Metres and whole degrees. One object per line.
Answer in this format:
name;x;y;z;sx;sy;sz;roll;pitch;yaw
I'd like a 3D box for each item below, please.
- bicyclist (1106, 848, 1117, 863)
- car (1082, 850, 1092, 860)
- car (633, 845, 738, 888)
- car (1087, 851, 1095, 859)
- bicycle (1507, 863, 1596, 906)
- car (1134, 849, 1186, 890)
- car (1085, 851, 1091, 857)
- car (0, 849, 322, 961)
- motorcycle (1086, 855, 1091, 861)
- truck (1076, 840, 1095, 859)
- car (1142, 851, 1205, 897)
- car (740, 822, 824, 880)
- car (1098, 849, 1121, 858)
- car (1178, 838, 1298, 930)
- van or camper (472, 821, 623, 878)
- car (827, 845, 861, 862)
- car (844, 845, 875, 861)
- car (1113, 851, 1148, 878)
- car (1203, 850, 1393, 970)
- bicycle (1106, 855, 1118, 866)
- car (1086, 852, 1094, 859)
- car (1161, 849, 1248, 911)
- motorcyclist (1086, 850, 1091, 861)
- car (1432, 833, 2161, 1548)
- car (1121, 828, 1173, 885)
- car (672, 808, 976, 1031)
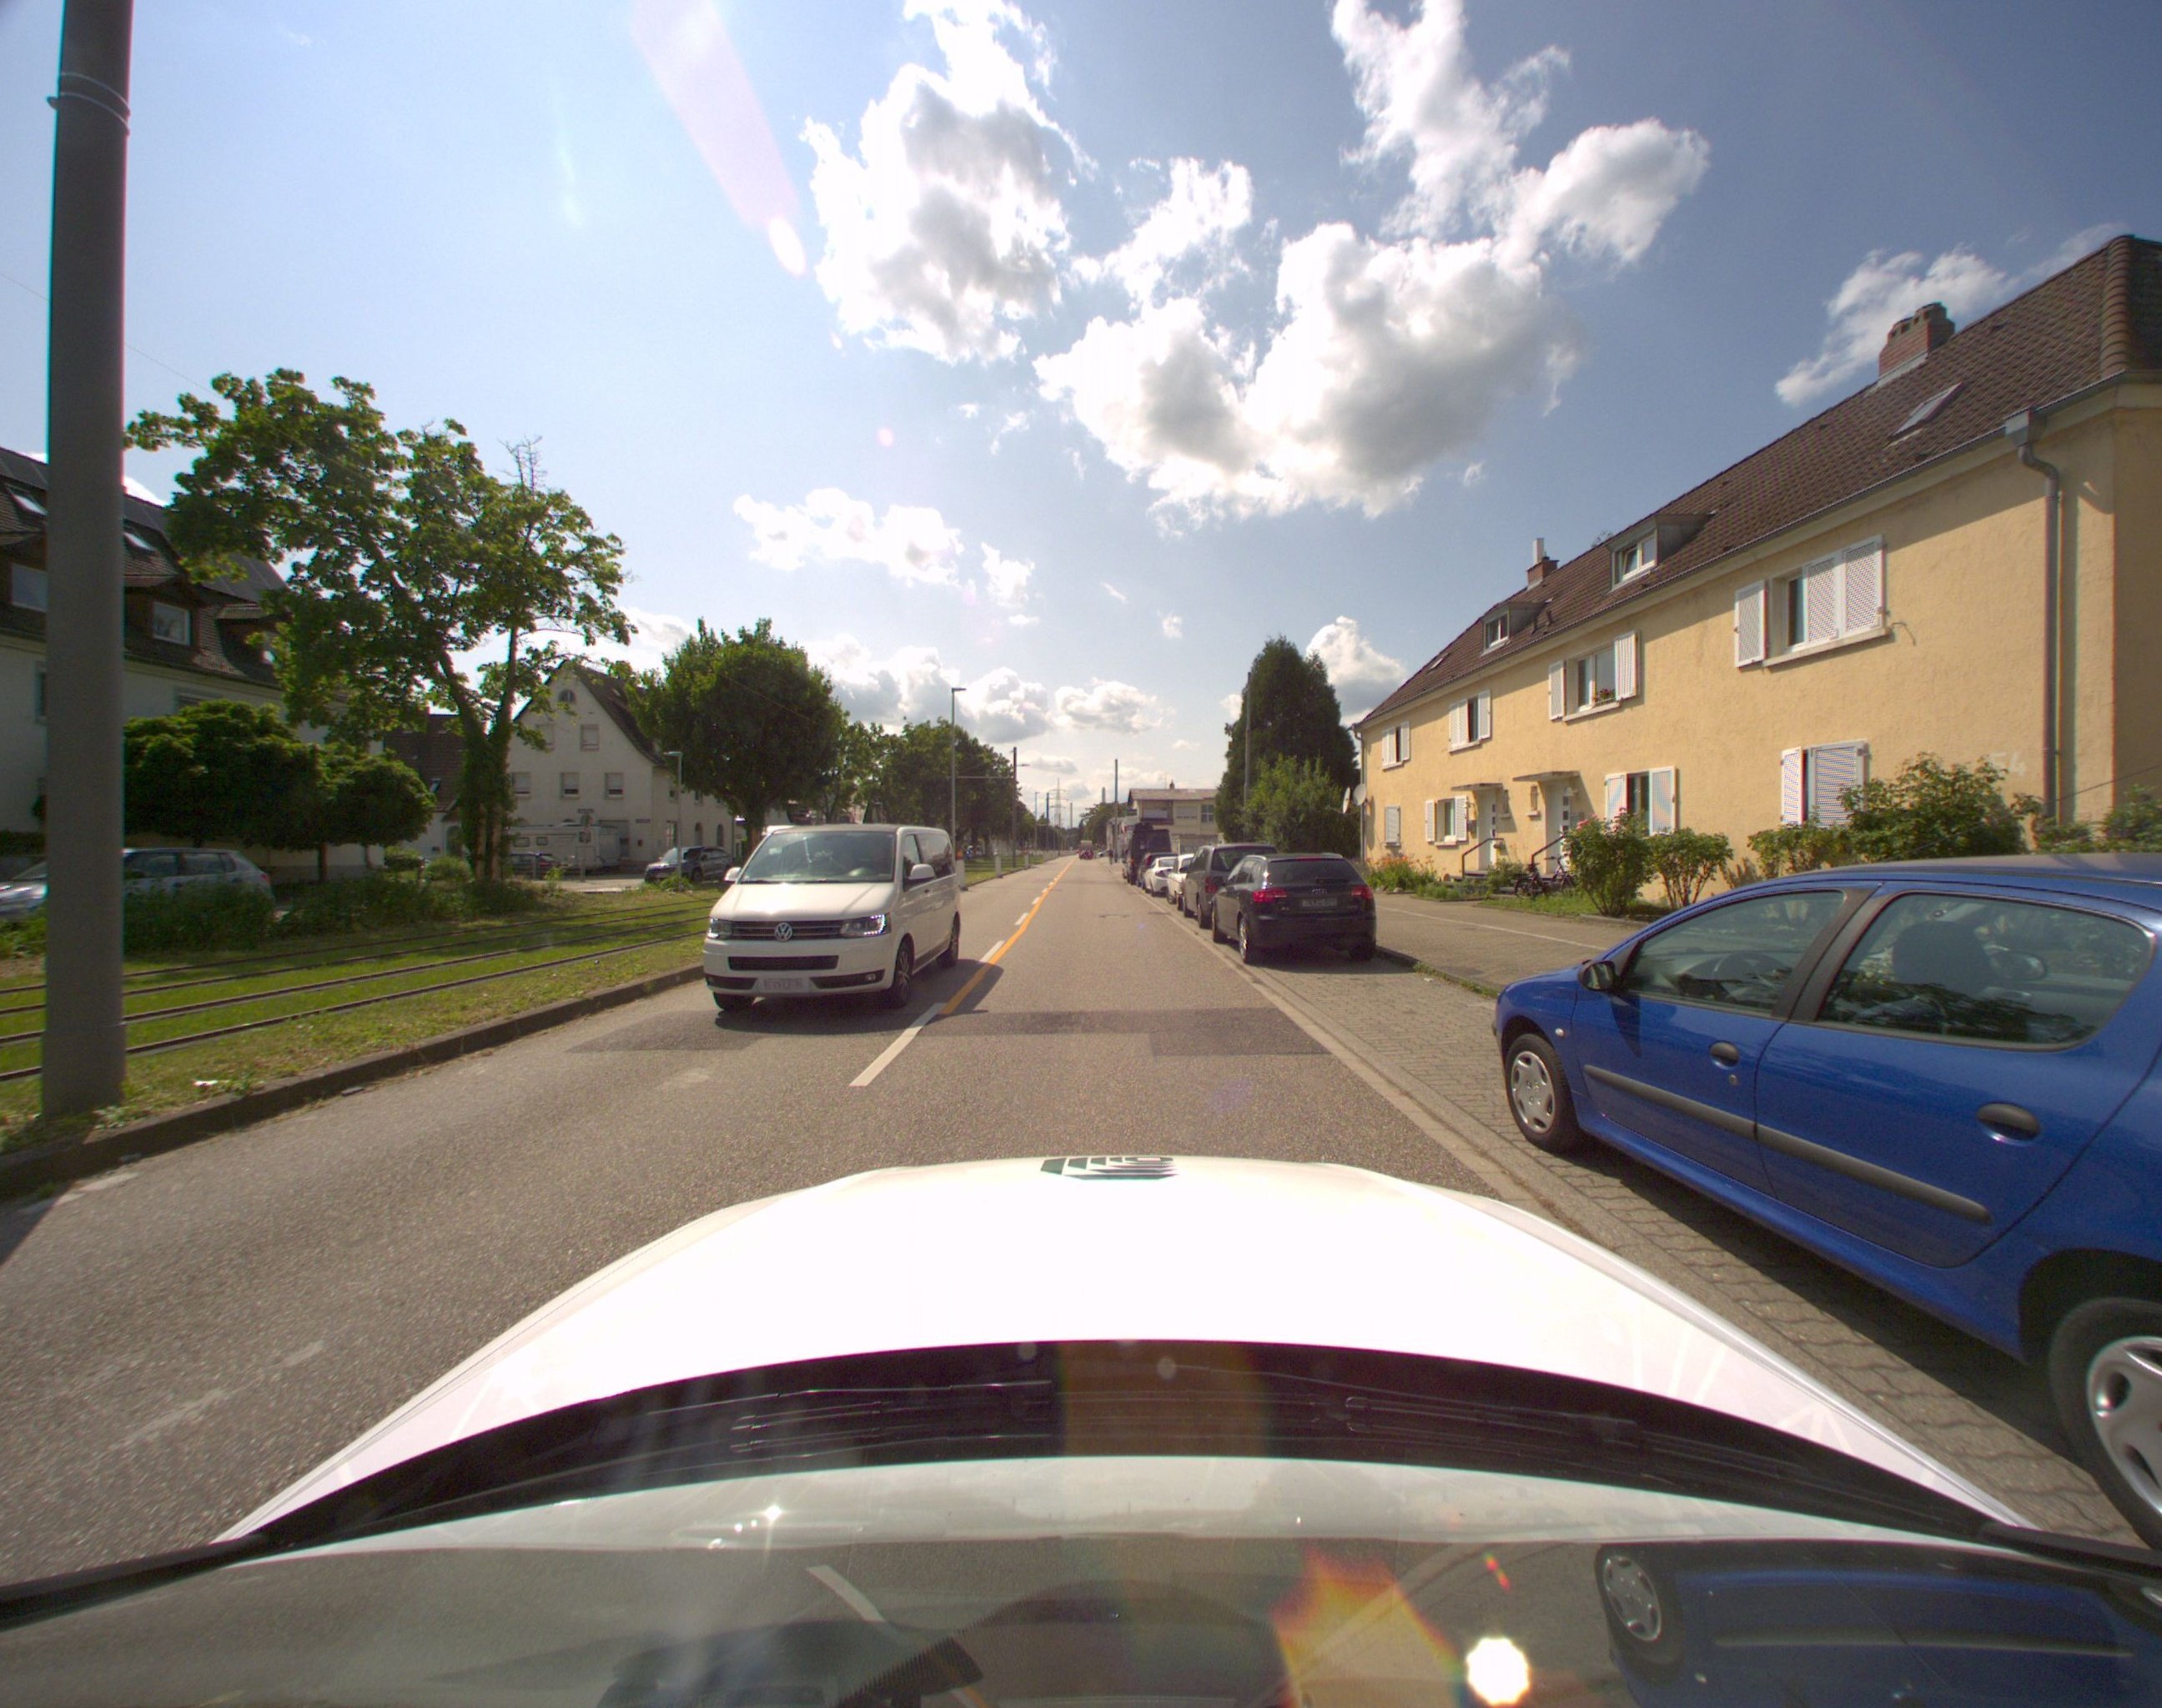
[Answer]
bicyclist;3.135;0.139;83.120;0.992;1.569;1.139;0;0;-3
car;0.906;0.133;132.867;1.564;1.498;4.146;0;0;-1
car;-15.383;0.437;31.968;1.722;1.505;4.569;-2;0;2
car;1.959;0.242;162.199;1.564;1.498;4.146;0;0;-1
bicycle;10.550;0.676;18.275;1.856;0.956;0.366;0;0;-4
car;3.177;0.592;33.431;1.758;1.502;4.000;-2;0;1
car;1.781;0.059;205.476;1.564;1.498;4.146;0;0;-1
car;-15.421;0.707;13.253;1.722;1.505;4.569;-2;0;2
motorcycle;1.176;0.599;127.787;0.881;0.924;2.615;0;0;0
truck;0.764;-0.835;149.839;3.212;3.402;11.347;0;0;-1
car;3.121;0.640;28.251;1.758;1.439;4.000;-2;0;1
car;-15.400;-0.153;42.489;2.069;2.721;6.994;-2;0;-3
car;5.941;-0.153;170.185;4.634;1.823;1.833;0;0;-5
car;3.146;0.551;17.104;1.758;1.643;4.000;-2;0;1
van or camper;-30.141;-0.256;46.161;6.859;3.126;2.442;0;0;-1
car;-21.791;-0.052;74.967;1.872;1.553;4.397;0;0;0
car;-21.770;-0.103;80.304;1.872;1.553;4.397;0;0;0
car;2.877;0.582;47.880;1.758;1.502;3.999;-2;0;0
car;2.961;0.677;12.003;1.758;1.417;4.000;-2;0;1
bicycle;3.136;0.686;83.095;0.992;1.049;2.810;0;0;-2
car;2.077;0.321;186.597;1.564;1.498;4.146;0;0;-1
car;3.223;0.632;22.019;1.758;1.476;4.000;-2;0;1
motorcyclist;1.180;0.219;127.523;0.881;1.667;1.109;0;0;-1
car;2.984;0.659;3.071;1.615;1.417;4.000;-2;0;1
car;3.125;0.103;39.531;1.953;2.478;6.059;-2;0;0
car;-2.678;0.583;10.069;1.922;1.958;5.377;-2;0;1
